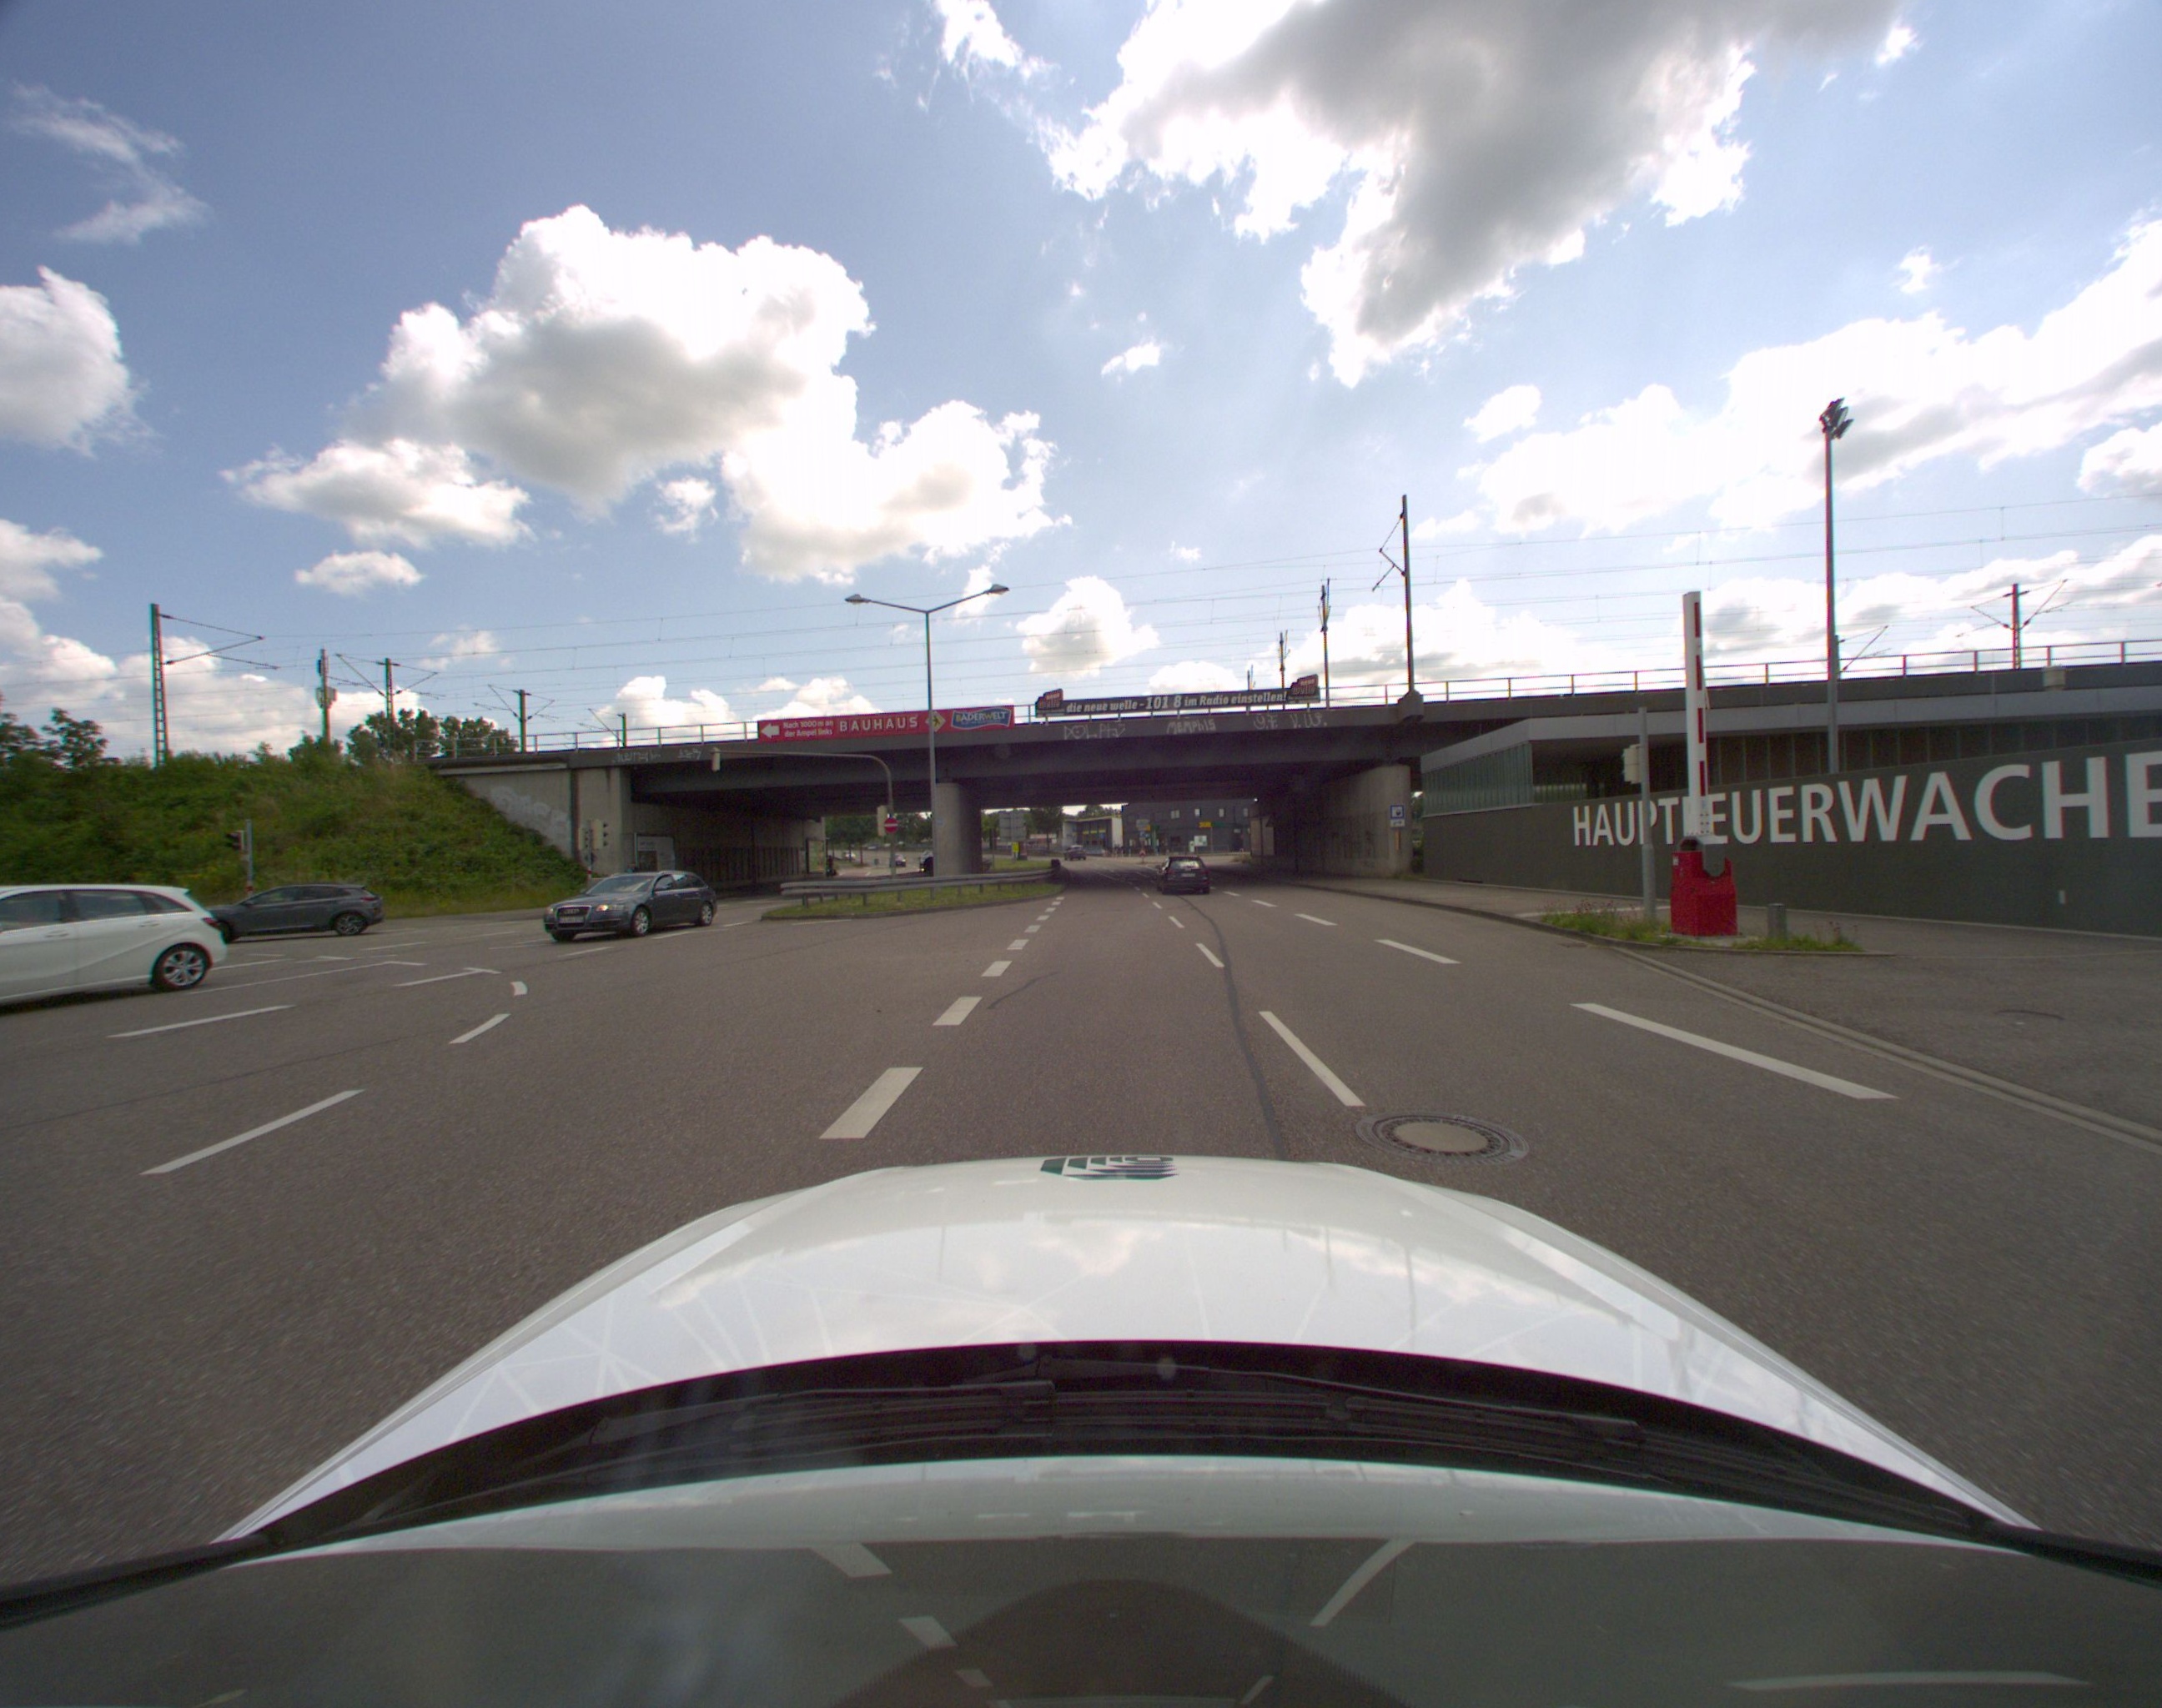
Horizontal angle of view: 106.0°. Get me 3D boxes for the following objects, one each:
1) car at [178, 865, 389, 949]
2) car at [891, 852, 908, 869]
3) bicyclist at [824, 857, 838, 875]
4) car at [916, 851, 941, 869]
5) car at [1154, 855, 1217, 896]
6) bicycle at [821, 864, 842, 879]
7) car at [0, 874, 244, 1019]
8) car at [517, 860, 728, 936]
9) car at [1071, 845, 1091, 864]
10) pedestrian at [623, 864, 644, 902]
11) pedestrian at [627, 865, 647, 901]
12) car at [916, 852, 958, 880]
[{"bbox_3d":[-22.177,1.393,22.908,4.020,2.013,1.977,-2,0,-39],"label":"car"},{"bbox_3d":[-23.016,0.824,103.328,1.995,2.013,4.319,-2,0,-11],"label":"car"},{"bbox_3d":[-19.661,0.943,64.144,0.677,1.408,0.927,-1,-1,9],"label":"bicyclist"},{"bbox_3d":[-17.785,0.695,95.238,1.987,2.013,4.336,-2,0,0],"label":"car"},{"bbox_3d":[3.996,0.787,31.833,1.986,1.390,4.577,-1,1,2],"label":"car"},{"bbox_3d":[-19.652,1.366,64.173,0.676,1.143,2.289,-1,-1,9],"label":"bicycle"},{"bbox_3d":[-13.520,1.145,10.013,1.799,1.632,4.394,-2,0,1],"label":"car"},{"bbox_3d":[-10.239,0.903,18.725,1.967,1.389,4.782,-3,0,2],"label":"car"},{"bbox_3d":[0.000,0.064,92.419,1.986,2.037,4.715,-2,0,2],"label":"car"},{"bbox_3d":[-20.633,1.339,37.554,0.589,1.681,0.556,-2,0,-1],"label":"pedestrian"},{"bbox_3d":[-20.938,1.358,38.437,0.552,1.625,0.586,-2,0,2],"label":"pedestrian"},{"bbox_3d":[-10.010,0.806,56.986,1.987,1.759,4.716,-2,0,0],"label":"car"}]
